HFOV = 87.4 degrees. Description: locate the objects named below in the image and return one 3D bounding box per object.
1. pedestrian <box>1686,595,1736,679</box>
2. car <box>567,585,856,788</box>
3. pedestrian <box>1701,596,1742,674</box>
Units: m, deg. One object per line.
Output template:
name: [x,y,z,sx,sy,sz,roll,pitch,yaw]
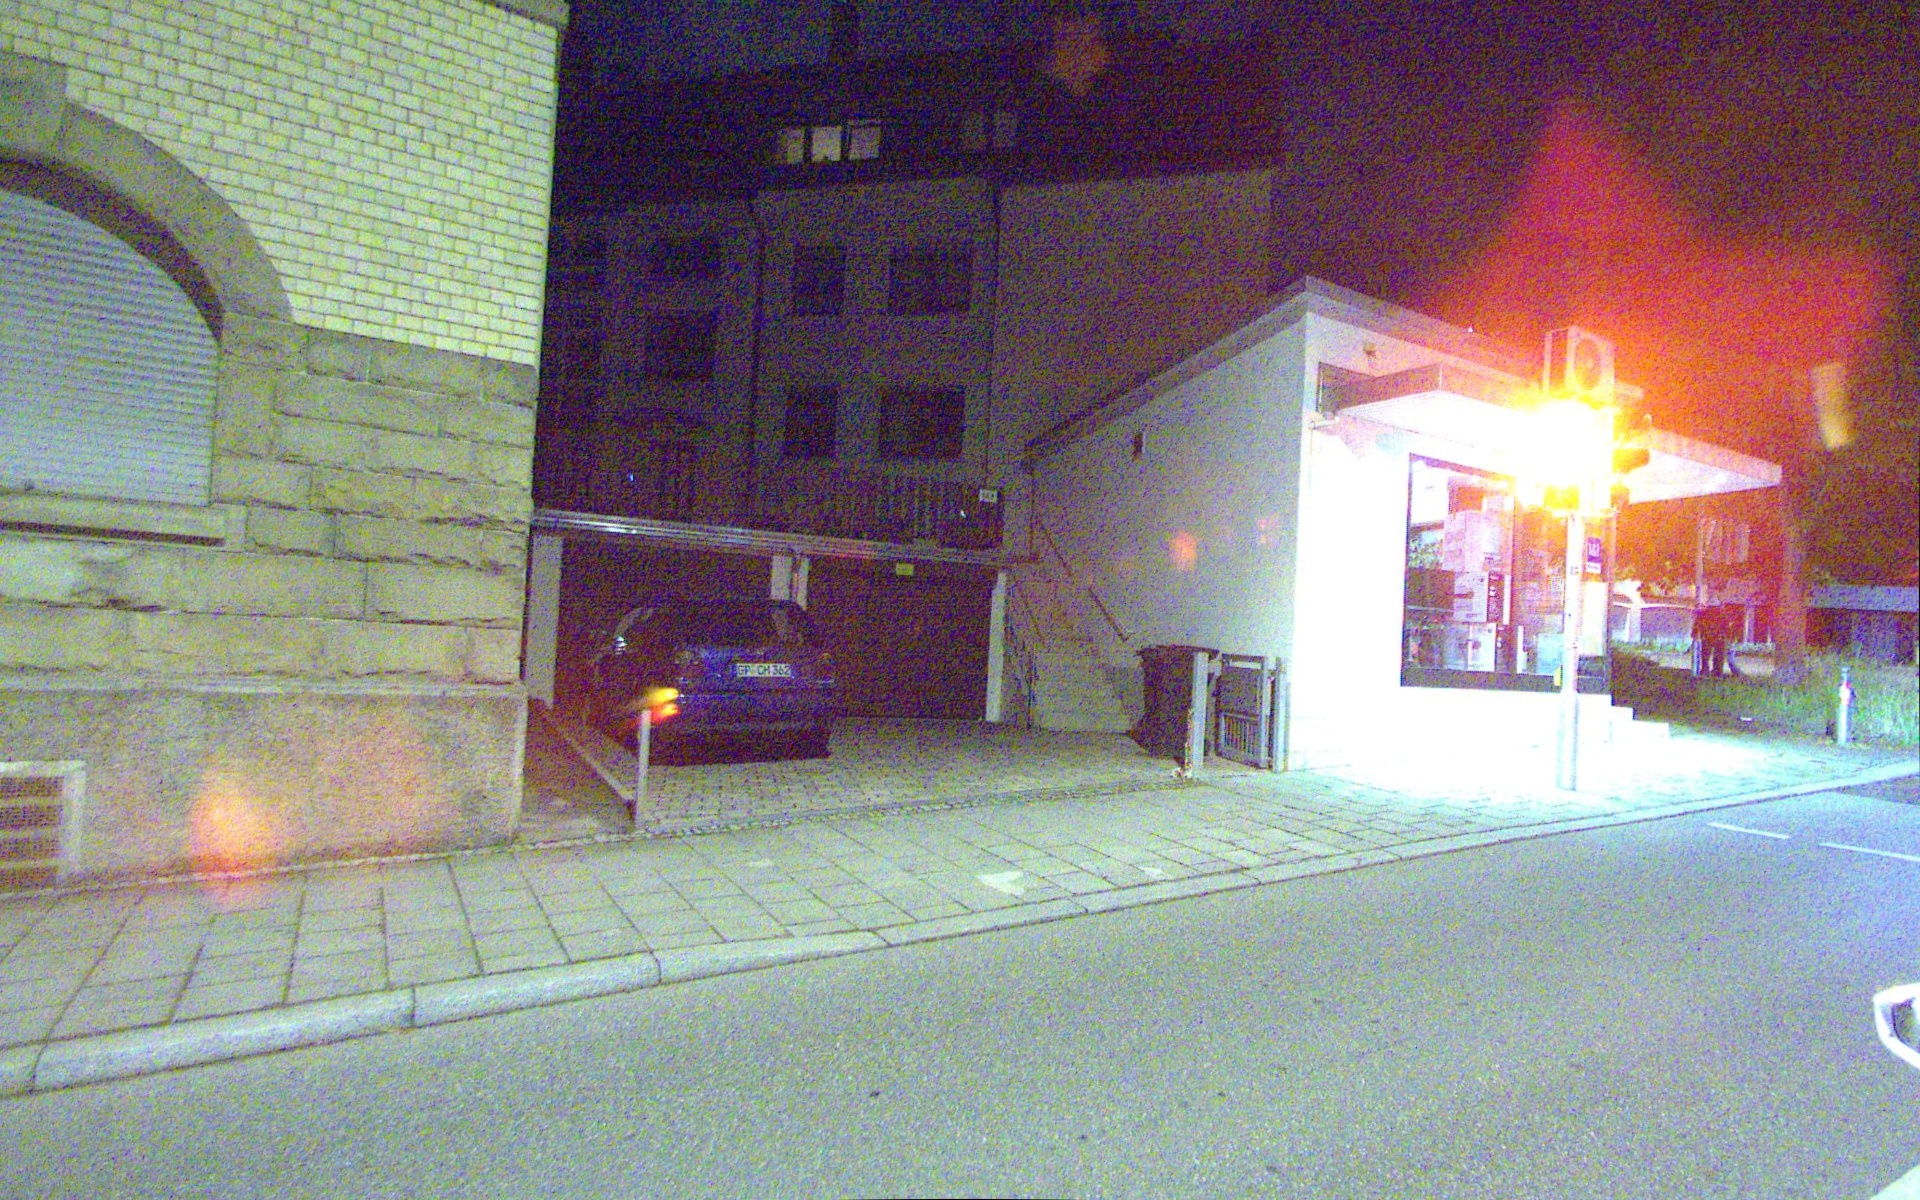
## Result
pedestrian: [16.527,0.809,22.106,0.729,1.801,0.567,2,2,-30]
car: [-2.533,0.650,9.564,1.700,1.460,3.631,2,1,-30]
pedestrian: [17.460,0.794,23.032,0.537,1.754,0.567,2,0,-30]
